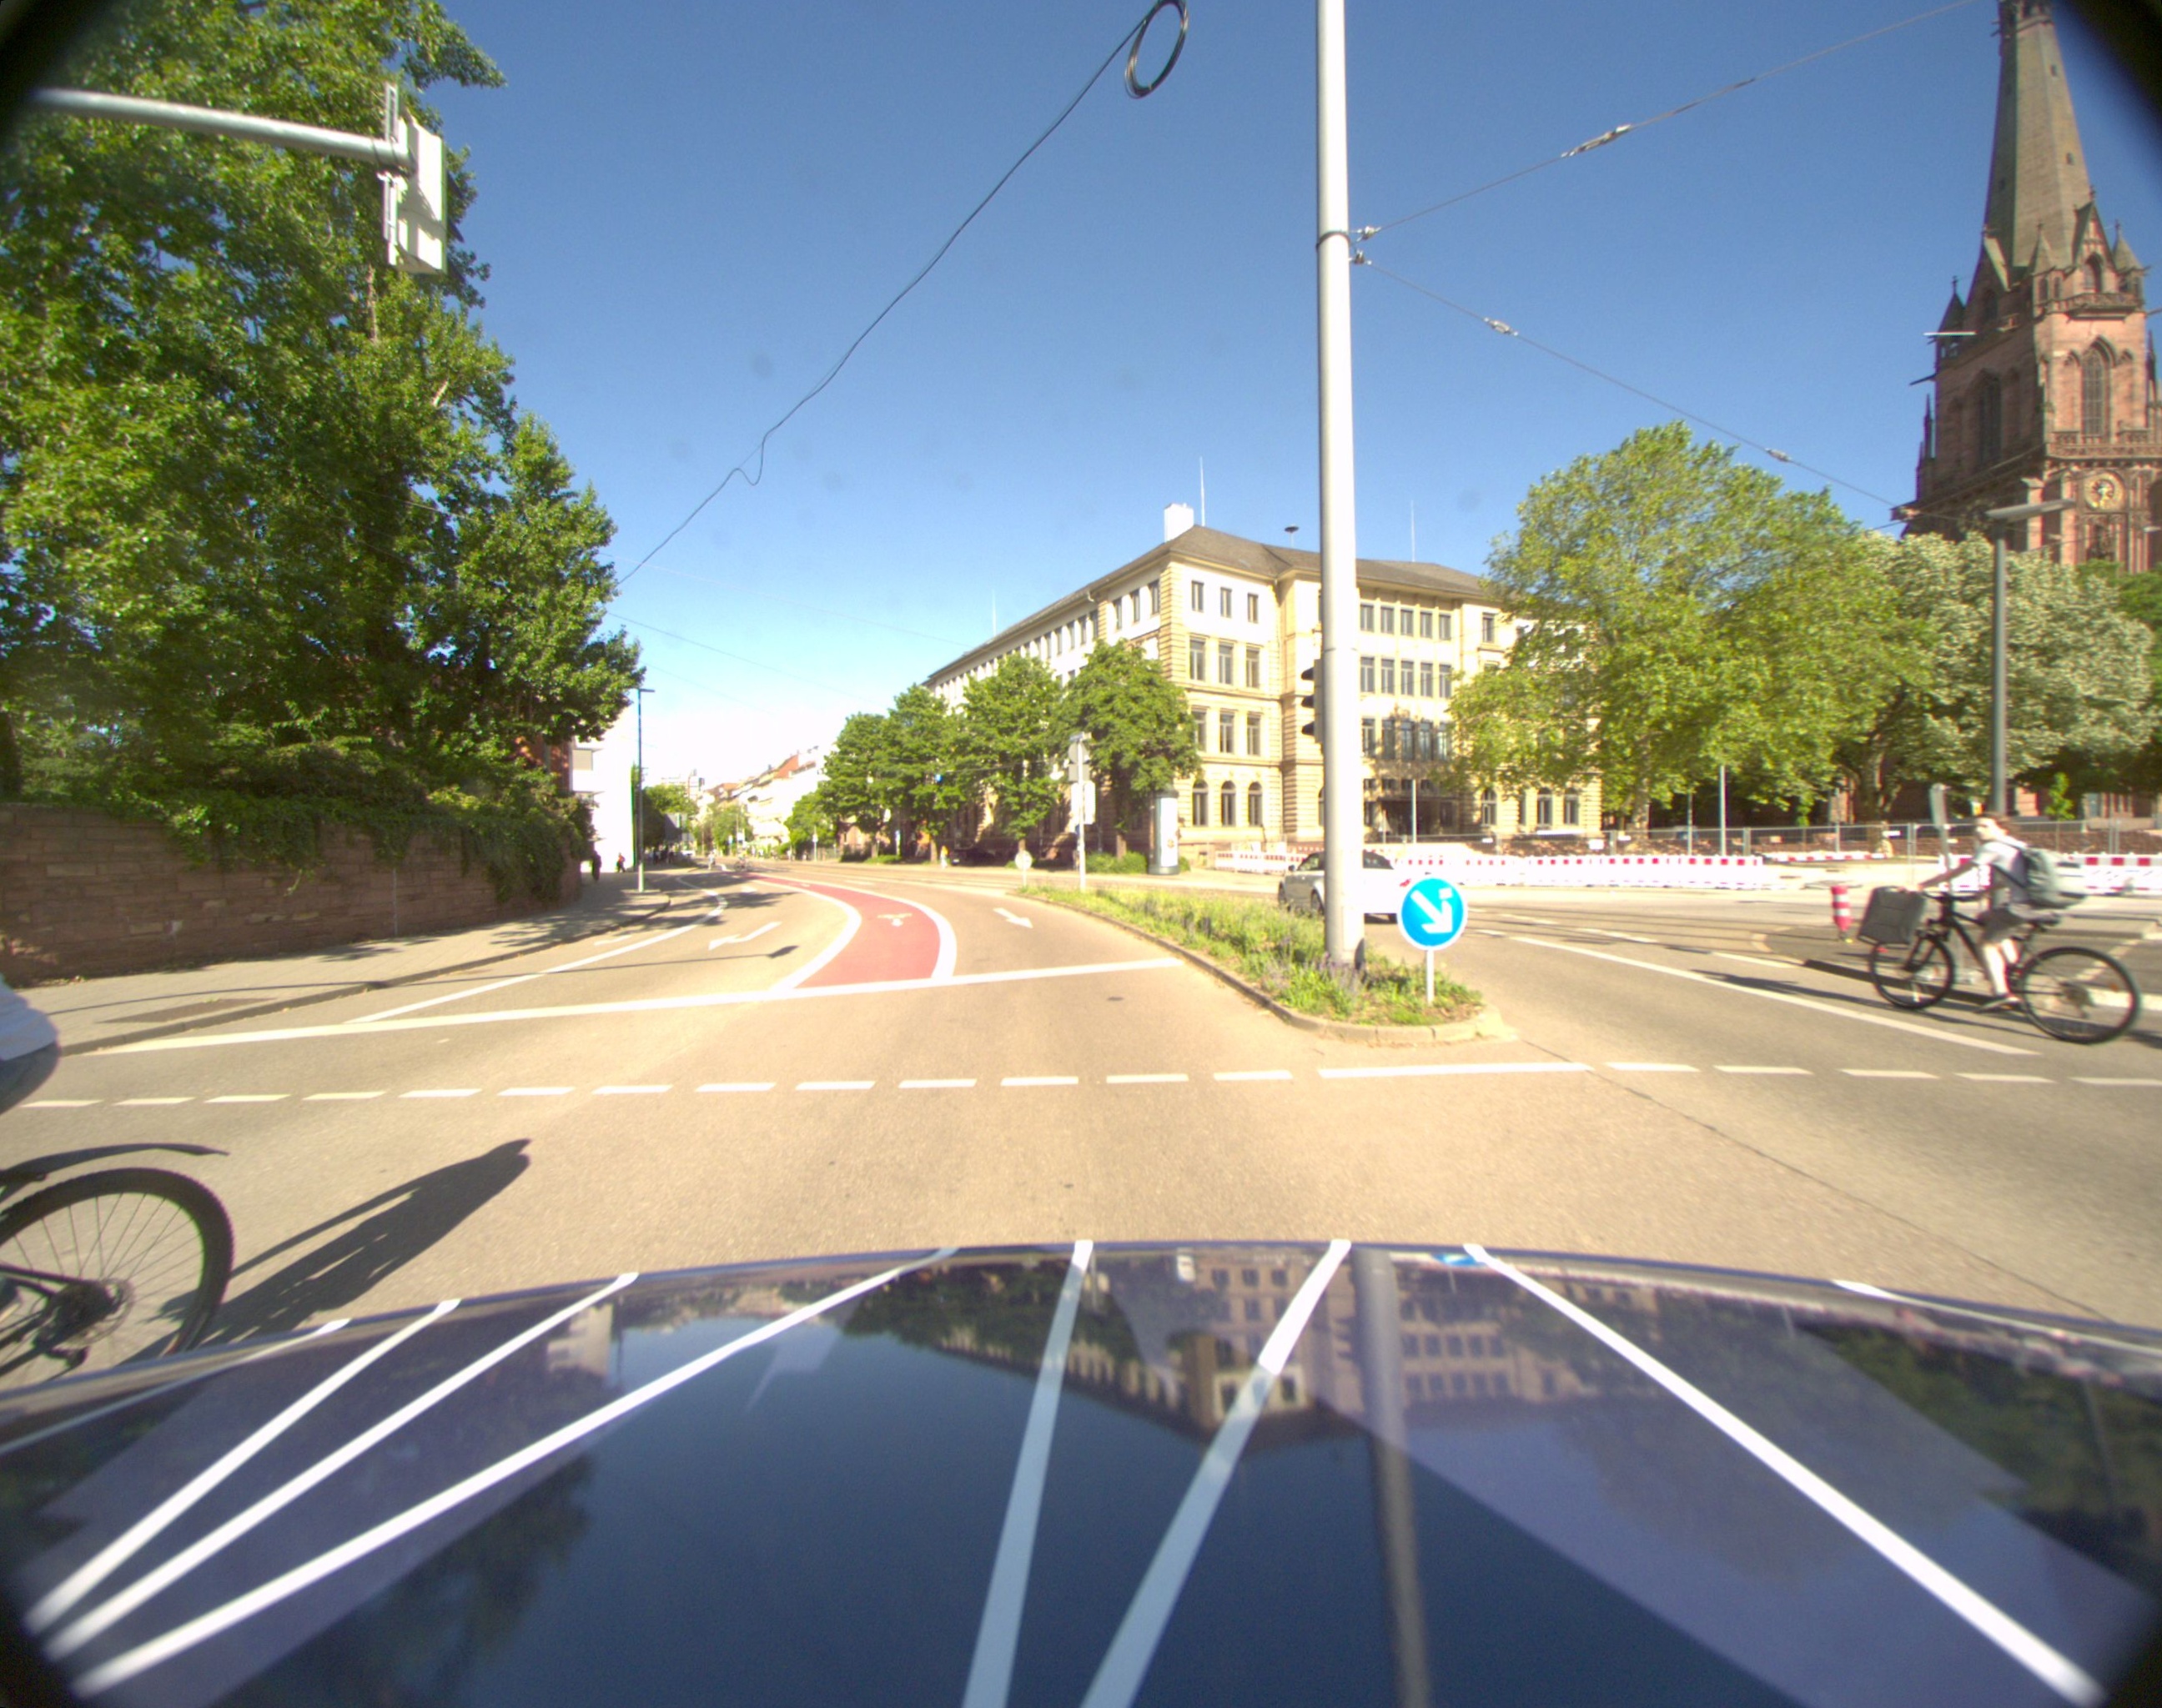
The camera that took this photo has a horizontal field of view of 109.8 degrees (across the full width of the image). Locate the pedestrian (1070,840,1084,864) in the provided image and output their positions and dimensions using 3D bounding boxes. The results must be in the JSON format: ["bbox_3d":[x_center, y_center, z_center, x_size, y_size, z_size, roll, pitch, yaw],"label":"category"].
[{"bbox_3d":[-0.310,-0.155,53.633,0.731,1.660,0.844,-1,4,-21],"label":"pedestrian"}]

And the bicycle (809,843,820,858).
[{"bbox_3d":[-35.771,-0.471,101.930,1.004,1.877,3.887,-2,3,-14],"label":"bicycle"}]

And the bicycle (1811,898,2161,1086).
[{"bbox_3d":[7.303,0.977,6.090,0.775,1.074,2.033,-1,2,-7],"label":"bicycle"}]

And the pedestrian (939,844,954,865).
[{"bbox_3d":[-10.725,0.054,60.444,0.773,1.658,1.031,0,-3,-36],"label":"pedestrian"}]

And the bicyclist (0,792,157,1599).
[{"bbox_3d":[-2.784,0.763,1.419,0.751,1.766,1.014,-1,2,5],"label":"bicyclist"}]

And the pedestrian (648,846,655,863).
[{"bbox_3d":[-45.877,0.028,81.212,0.589,1.796,0.544,-2,2,-32],"label":"pedestrian"}]

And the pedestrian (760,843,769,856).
[{"bbox_3d":[-43.646,-0.623,104.729,0.677,1.728,0.933,1,2,39],"label":"pedestrian"}]

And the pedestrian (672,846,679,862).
[{"bbox_3d":[-43.965,-0.002,82.384,0.589,1.718,0.519,-2,2,-32],"label":"pedestrian"}]

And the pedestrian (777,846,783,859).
[{"bbox_3d":[-43.241,-0.246,109.189,0.730,1.846,0.652,-2,2,-29],"label":"pedestrian"}]

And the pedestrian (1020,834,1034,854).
[{"bbox_3d":[-4.386,-0.830,61.373,0.674,1.558,0.856,-7,5,-36],"label":"pedestrian"}]

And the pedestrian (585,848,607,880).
[{"bbox_3d":[-25.693,0.526,40.255,0.942,1.668,0.951,1,1,-33],"label":"pedestrian"}]

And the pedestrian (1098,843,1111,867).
[{"bbox_3d":[1.525,0.033,49.532,0.580,1.553,0.652,-2,2,-31],"label":"pedestrian"}]

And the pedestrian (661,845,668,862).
[{"bbox_3d":[-45.597,-0.087,83.128,0.589,1.796,0.581,-2,2,-32],"label":"pedestrian"}]

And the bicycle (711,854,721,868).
[{"bbox_3d":[-31.723,0.587,66.063,0.666,1.146,1.668,-3,3,-28],"label":"bicycle"}]

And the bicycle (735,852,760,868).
[{"bbox_3d":[-26.295,0.479,59.914,1.601,1.145,0.743,-4,4,-39],"label":"bicycle"}]

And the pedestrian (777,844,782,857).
[{"bbox_3d":[-43.318,-0.497,109.219,0.580,1.846,0.683,-2,2,-31],"label":"pedestrian"}]

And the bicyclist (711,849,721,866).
[{"bbox_3d":[-31.724,0.291,66.030,0.666,1.454,0.621,-3,4,-28],"label":"bicyclist"}]

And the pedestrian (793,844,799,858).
[{"bbox_3d":[-39.153,-0.379,104.330,0.580,1.846,0.683,-2,2,-31],"label":"pedestrian"}]

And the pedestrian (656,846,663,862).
[{"bbox_3d":[-45.237,-0.007,81.601,0.589,1.796,0.544,-2,2,-32],"label":"pedestrian"}]

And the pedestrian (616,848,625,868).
[{"bbox_3d":[-34.742,0.295,57.335,0.521,1.557,0.533,-2,2,-32],"label":"pedestrian"}]

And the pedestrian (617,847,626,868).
[{"bbox_3d":[-35.125,0.273,58.048,0.521,1.557,0.533,-2,2,-32],"label":"pedestrian"}]

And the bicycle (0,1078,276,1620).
[{"bbox_3d":[-2.811,1.226,1.368,0.612,1.071,1.830,-1,2,5],"label":"bicycle"}]

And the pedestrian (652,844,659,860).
[{"bbox_3d":[-46.256,-0.235,82.639,0.589,1.796,0.581,-2,2,-32],"label":"pedestrian"}]

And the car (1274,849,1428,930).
[{"bbox_3d":[5.393,0.630,15.784,1.804,1.385,4.092,1,1,2],"label":"car"}]

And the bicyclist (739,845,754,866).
[{"bbox_3d":[-26.357,0.138,59.853,0.881,1.574,0.743,-4,4,-39],"label":"bicyclist"}]

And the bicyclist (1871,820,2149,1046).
[{"bbox_3d":[7.317,0.560,6.056,0.883,1.635,1.059,-1,2,-7],"label":"bicyclist"}]

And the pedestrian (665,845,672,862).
[{"bbox_3d":[-44.521,-0.022,82.054,0.589,1.796,0.519,-2,2,-32],"label":"pedestrian"}]

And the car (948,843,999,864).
[{"bbox_3d":[-8.748,-0.055,62.332,1.916,1.565,4.117,0,2,31],"label":"car"}]
